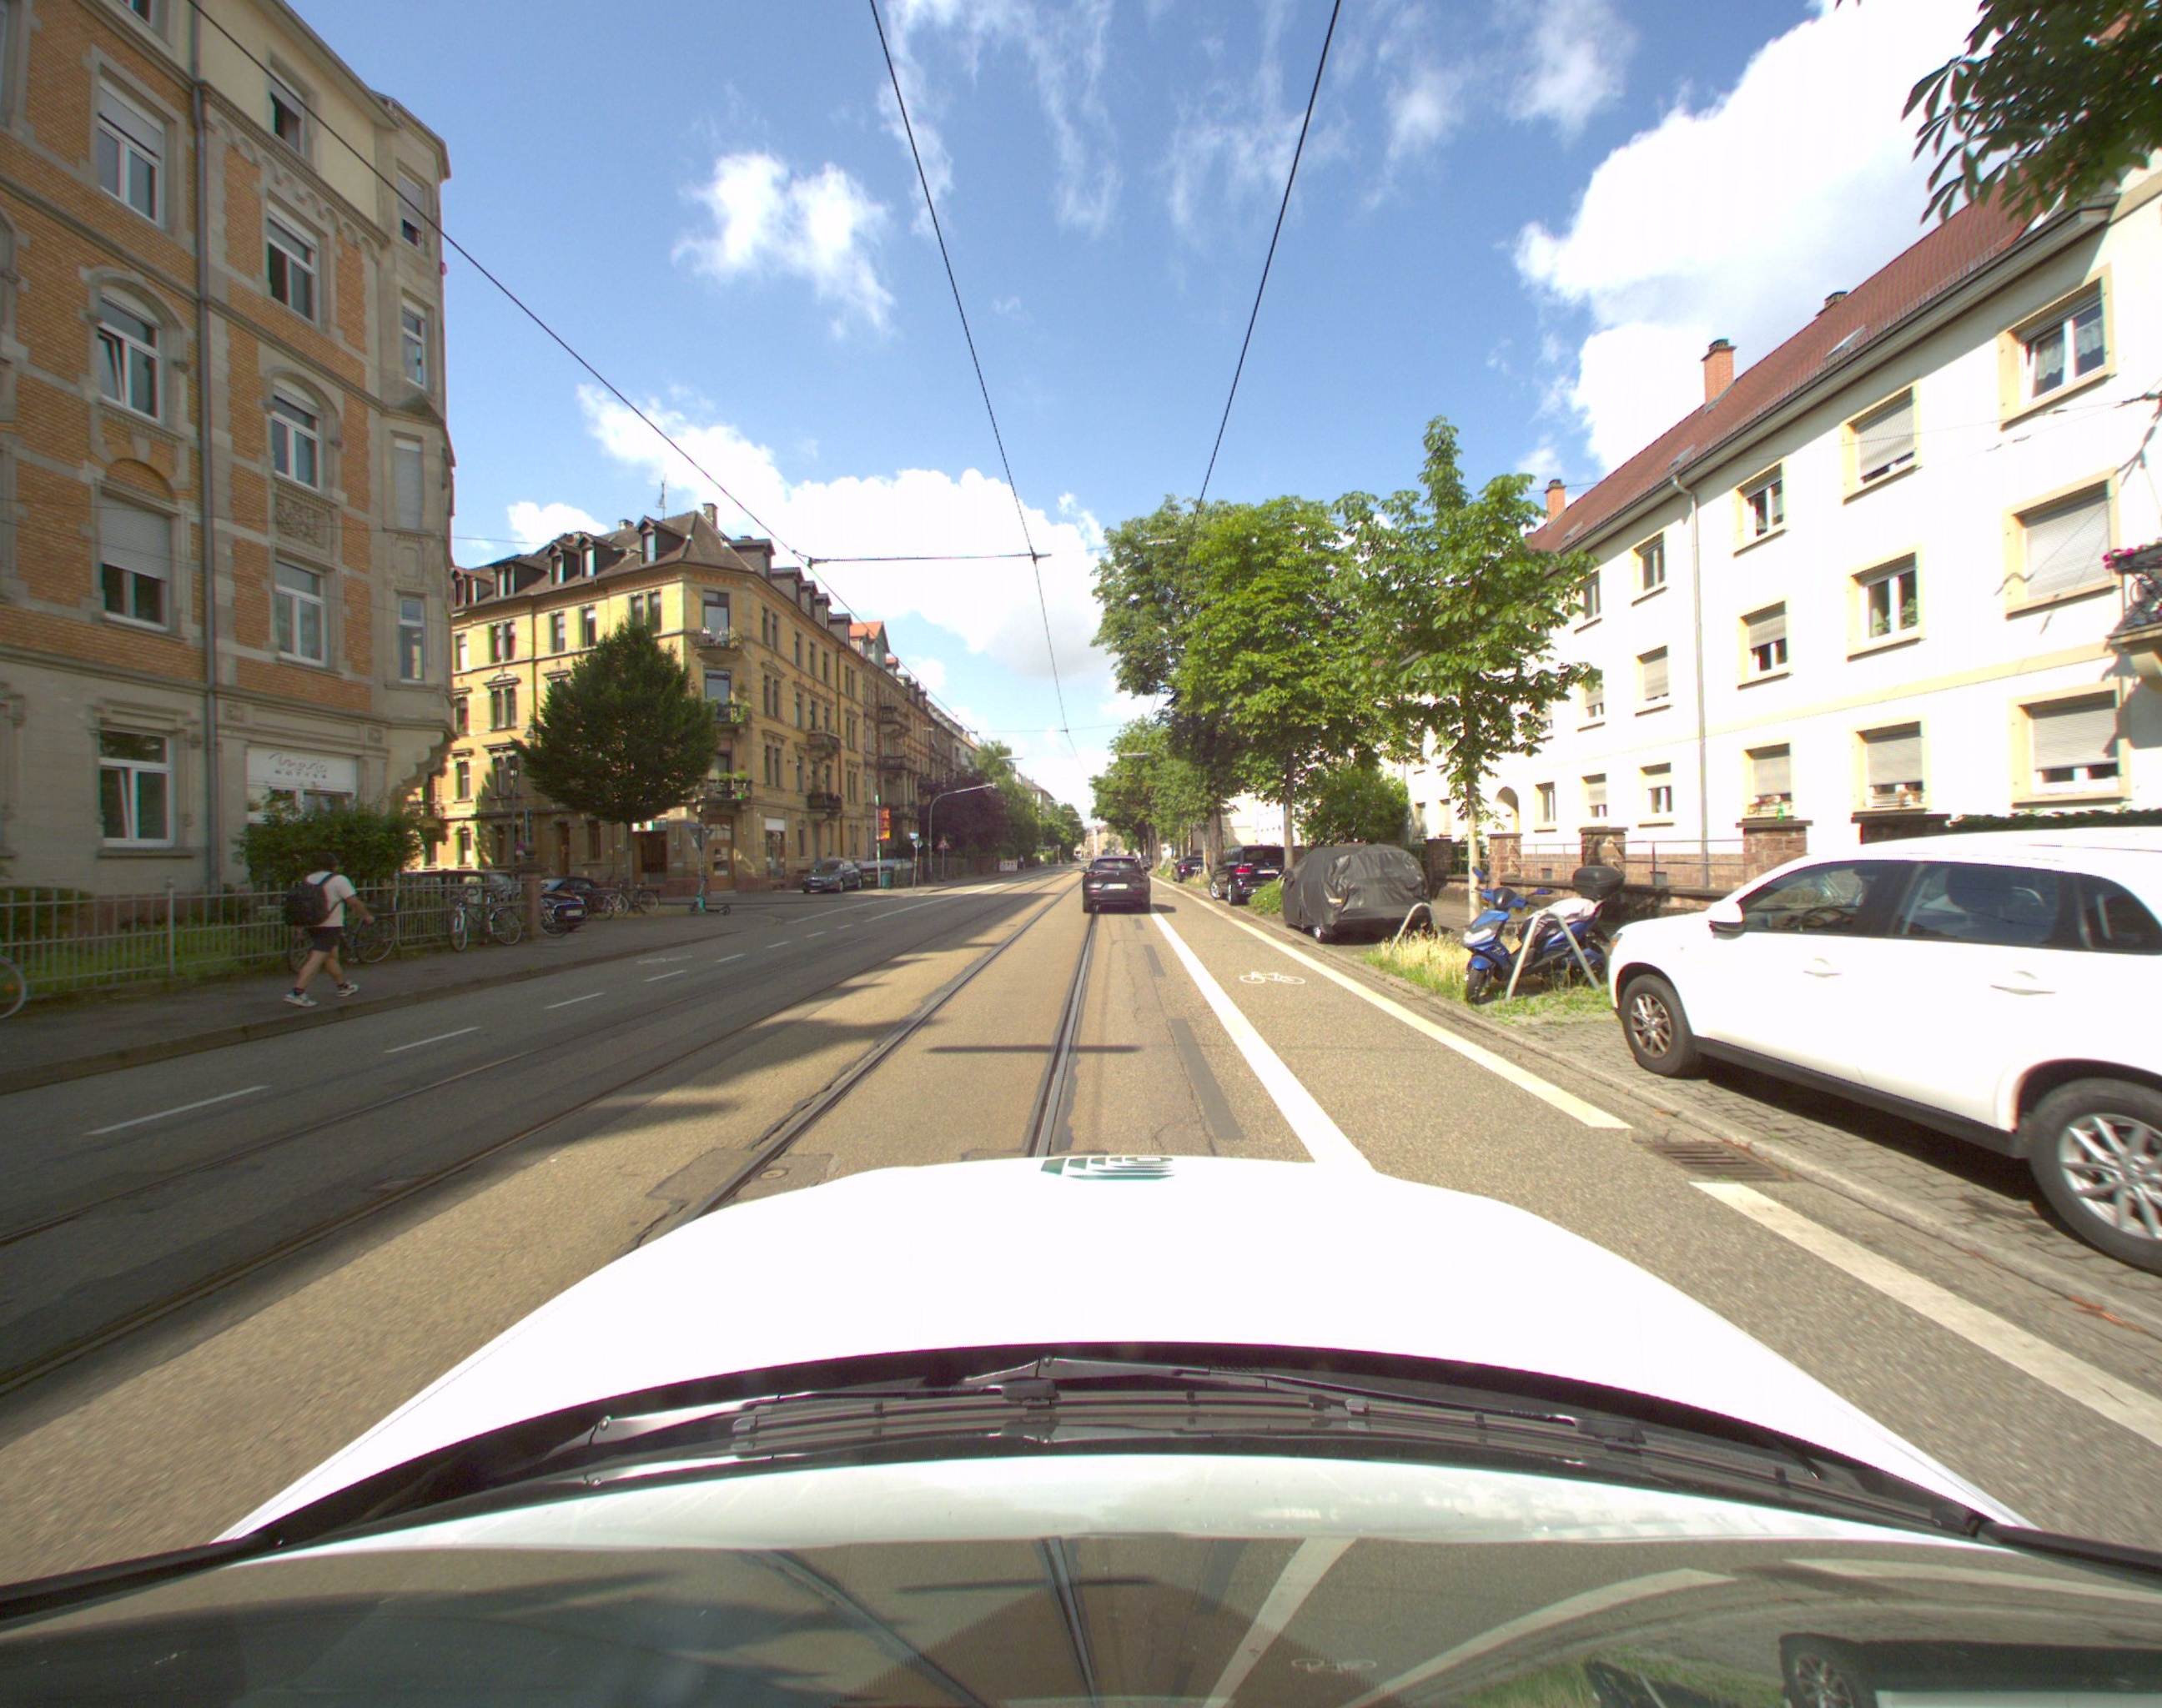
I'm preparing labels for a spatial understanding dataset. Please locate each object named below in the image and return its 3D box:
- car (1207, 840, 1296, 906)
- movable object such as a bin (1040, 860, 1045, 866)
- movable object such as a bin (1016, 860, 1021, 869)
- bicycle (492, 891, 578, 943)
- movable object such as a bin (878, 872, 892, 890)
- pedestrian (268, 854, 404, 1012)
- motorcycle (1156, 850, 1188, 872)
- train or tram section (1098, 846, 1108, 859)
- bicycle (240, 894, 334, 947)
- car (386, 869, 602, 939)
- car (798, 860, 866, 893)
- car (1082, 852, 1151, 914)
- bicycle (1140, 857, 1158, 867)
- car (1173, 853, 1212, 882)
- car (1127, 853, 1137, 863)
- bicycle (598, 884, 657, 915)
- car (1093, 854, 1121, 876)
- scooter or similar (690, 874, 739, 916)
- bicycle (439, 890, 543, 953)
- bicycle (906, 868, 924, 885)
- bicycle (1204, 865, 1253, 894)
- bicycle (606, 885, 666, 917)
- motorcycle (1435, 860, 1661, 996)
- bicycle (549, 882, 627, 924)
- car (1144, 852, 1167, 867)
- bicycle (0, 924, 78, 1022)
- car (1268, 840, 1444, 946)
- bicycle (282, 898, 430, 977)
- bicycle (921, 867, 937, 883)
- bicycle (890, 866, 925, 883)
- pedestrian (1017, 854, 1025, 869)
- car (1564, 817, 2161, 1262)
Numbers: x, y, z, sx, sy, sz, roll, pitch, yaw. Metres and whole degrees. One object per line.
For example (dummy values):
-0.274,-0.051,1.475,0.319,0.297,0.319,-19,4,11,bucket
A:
5.127,0.526,25.112,1.820,1.782,4.735,-2,0,2,car
-6.233,1.417,131.283,0.742,0.988,1.114,1,0,2,movable object such as a bin
-8.024,1.354,104.578,0.535,1.094,0.791,-1,0,7,movable object such as a bin
-11.109,1.273,16.587,1.447,0.976,0.404,-2,0,1,bicycle
-10.184,1.410,42.288,0.523,0.906,0.636,-2,0,0,movable object such as a bin
-8.793,0.880,9.662,0.531,1.760,1.106,1,0,1,pedestrian
6.735,0.499,60.387,2.357,1.597,0.683,1,1,40,motorcycle
7.052,-0.451,257.159,2.564,3.772,13.020,-2,0,-1,train or tram section
-15.744,1.309,16.153,1.447,0.976,0.404,-2,0,1,bicycle
-13.026,1.086,18.210,3.585,1.403,1.790,-1,0,5,car
-12.139,1.070,40.017,1.679,1.459,4.766,-2,0,2,car
0.951,0.737,22.336,1.714,1.526,3.591,-1,0,2,car
8.034,0.949,96.013,1.923,1.176,0.515,-3,-1,13,bicycle
6.064,0.731,44.678,1.700,1.479,4.198,1,0,2,car
9.924,0.783,158.861,1.714,1.968,4.210,-1,0,3,car
-13.859,1.375,24.959,0.519,0.837,1.705,-1,1,15,bicycle
1.931,0.772,59.770,1.986,1.529,4.001,1,0,2,car
-11.292,1.264,25.084,1.369,1.235,0.400,0,-1,-27,scooter or similar
-10.681,1.192,14.830,0.420,0.976,1.950,-1,0,1,bicycle
-9.494,1.276,46.586,0.528,0.946,1.969,-2,0,2,bicycle
5.462,0.942,30.262,1.701,1.007,0.638,-2,0,2,bicycle
-13.340,1.403,24.446,0.519,0.837,1.705,-1,1,15,bicycle
4.969,0.760,8.743,2.001,1.337,0.747,-1,0,-3,motorcycle
-13.585,1.344,22.458,1.750,1.063,0.524,-2,0,-4,bicycle
7.585,0.585,83.190,1.841,1.409,4.392,-3,0,-1,car
-11.017,1.217,7.778,0.420,0.932,1.950,-1,0,1,bicycle
4.952,0.631,15.417,1.856,1.653,4.639,-1,0,1,car
-10.736,1.197,12.158,0.420,0.976,1.950,-1,0,1,bicycle
-9.380,1.302,50.362,0.528,0.946,1.969,-2,0,2,bicycle
-10.409,1.239,48.807,1.957,0.946,0.531,-2,0,-3,bicycle
-7.042,0.919,96.052,0.820,1.706,0.891,-1,-1,-1,pedestrian
4.758,0.639,4.440,1.736,1.581,4.249,-3,0,1,car
